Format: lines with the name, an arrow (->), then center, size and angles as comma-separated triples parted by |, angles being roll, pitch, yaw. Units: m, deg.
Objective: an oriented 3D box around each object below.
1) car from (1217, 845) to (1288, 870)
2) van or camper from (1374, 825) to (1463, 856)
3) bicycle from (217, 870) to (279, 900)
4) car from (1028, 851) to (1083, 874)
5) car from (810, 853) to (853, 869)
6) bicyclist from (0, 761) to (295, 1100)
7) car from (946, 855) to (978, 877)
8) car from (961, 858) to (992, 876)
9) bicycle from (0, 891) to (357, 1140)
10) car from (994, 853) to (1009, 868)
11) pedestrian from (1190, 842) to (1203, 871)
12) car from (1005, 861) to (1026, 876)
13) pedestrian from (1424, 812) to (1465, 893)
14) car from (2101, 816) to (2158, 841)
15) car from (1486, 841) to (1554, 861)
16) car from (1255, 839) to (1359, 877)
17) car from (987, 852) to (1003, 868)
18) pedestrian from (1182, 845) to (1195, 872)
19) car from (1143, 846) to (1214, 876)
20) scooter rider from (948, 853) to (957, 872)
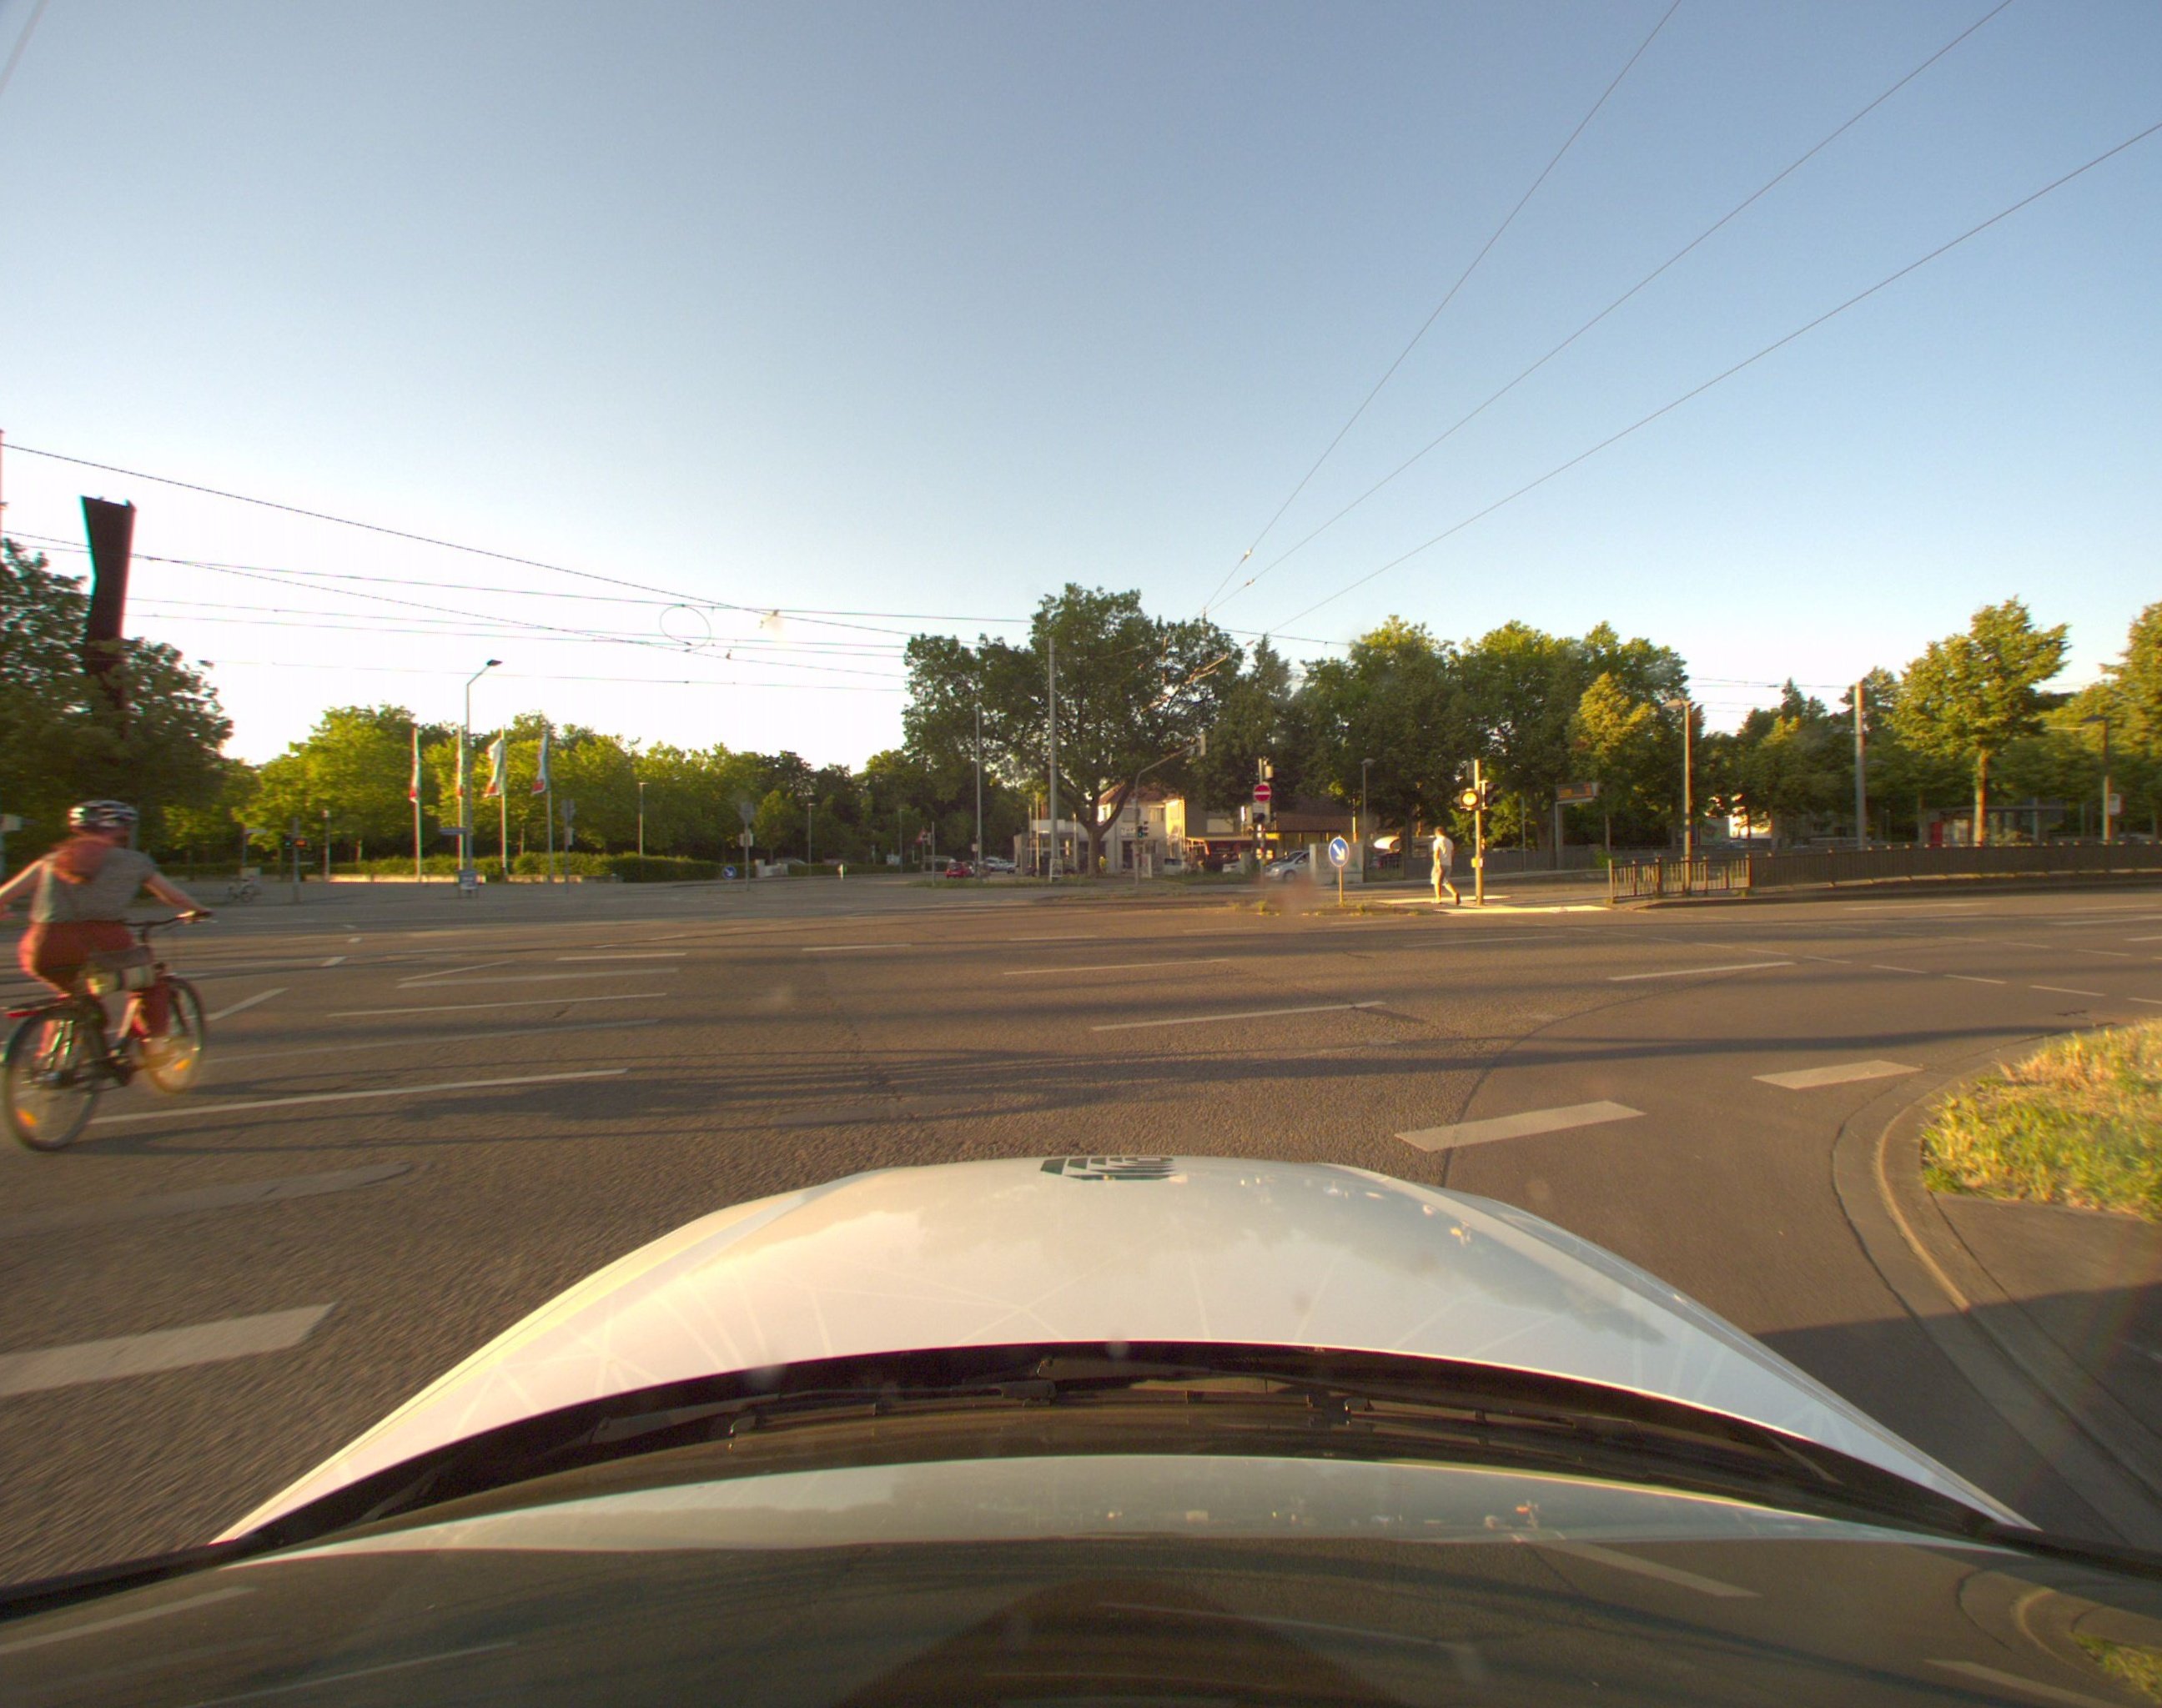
car -> 11.480, 0.244, 54.717 | 4.233, 1.577, 1.992 | -1, 0, -13
van or camper -> 27.755, -1.118, 67.089 | 6.565, 2.410, 2.256 | -1, -1, -11
bicycle -> -34.078, 1.262, 33.369 | 0.701, 1.136, 2.378 | -1, 0, -17
car -> -2.157, 0.698, 68.467 | 4.377, 1.835, 1.942 | -1, 0, -10
car -> -25.512, 0.678, 83.378 | 3.992, 1.561, 1.991 | -1, 0, -14
bicyclist -> -5.457, 0.386, 4.637 | 1.033, 1.718, 0.991 | -1, 0, -15
car -> -10.684, 1.072, 73.171 | 1.858, 1.874, 3.882 | -1, 0, 7
car -> -9.880, 1.205, 77.236 | 1.984, 1.574, 4.006 | -1, 0, 5
bicycle -> -5.316, 0.805, 4.819 | 0.635, 1.068, 2.111 | -1, 0, -15
car -> -11.164, 0.884, 114.259 | 1.992, 2.013, 3.990 | -1, 0, -7
pedestrian -> 7.088, 0.160, 49.908 | 0.714, 1.754, 0.900 | -1, 0, 10
car -> -7.489, 1.648, 93.731 | 1.907, 1.602, 4.004 | -1, 0, 3
pedestrian -> 8.235, -0.029, 18.477 | 0.756, 1.791, 0.805 | 0, 0, 15
car -> 94.908, -2.275, 73.732 | 3.995, 2.184, 1.771 | -1, 0, -16
car -> 33.011, -0.215, 61.221 | 4.233, 1.464, 1.992 | -1, 0, -13
car -> 10.789, 0.175, 38.939 | 4.548, 1.728, 1.850 | -1, 0, -19
car -> -11.588, 0.820, 109.430 | 1.992, 2.013, 3.990 | -1, 0, -7
pedestrian -> 6.736, 0.290, 50.976 | 0.714, 1.639, 0.900 | -1, 0, 10
car -> 6.427, 0.450, 53.788 | 4.233, 1.846, 1.992 | -1, 0, -13
scooter rider -> -12.417, 0.836, 78.651 | 0.703, 1.855, 0.665 | -1, -1, -15
